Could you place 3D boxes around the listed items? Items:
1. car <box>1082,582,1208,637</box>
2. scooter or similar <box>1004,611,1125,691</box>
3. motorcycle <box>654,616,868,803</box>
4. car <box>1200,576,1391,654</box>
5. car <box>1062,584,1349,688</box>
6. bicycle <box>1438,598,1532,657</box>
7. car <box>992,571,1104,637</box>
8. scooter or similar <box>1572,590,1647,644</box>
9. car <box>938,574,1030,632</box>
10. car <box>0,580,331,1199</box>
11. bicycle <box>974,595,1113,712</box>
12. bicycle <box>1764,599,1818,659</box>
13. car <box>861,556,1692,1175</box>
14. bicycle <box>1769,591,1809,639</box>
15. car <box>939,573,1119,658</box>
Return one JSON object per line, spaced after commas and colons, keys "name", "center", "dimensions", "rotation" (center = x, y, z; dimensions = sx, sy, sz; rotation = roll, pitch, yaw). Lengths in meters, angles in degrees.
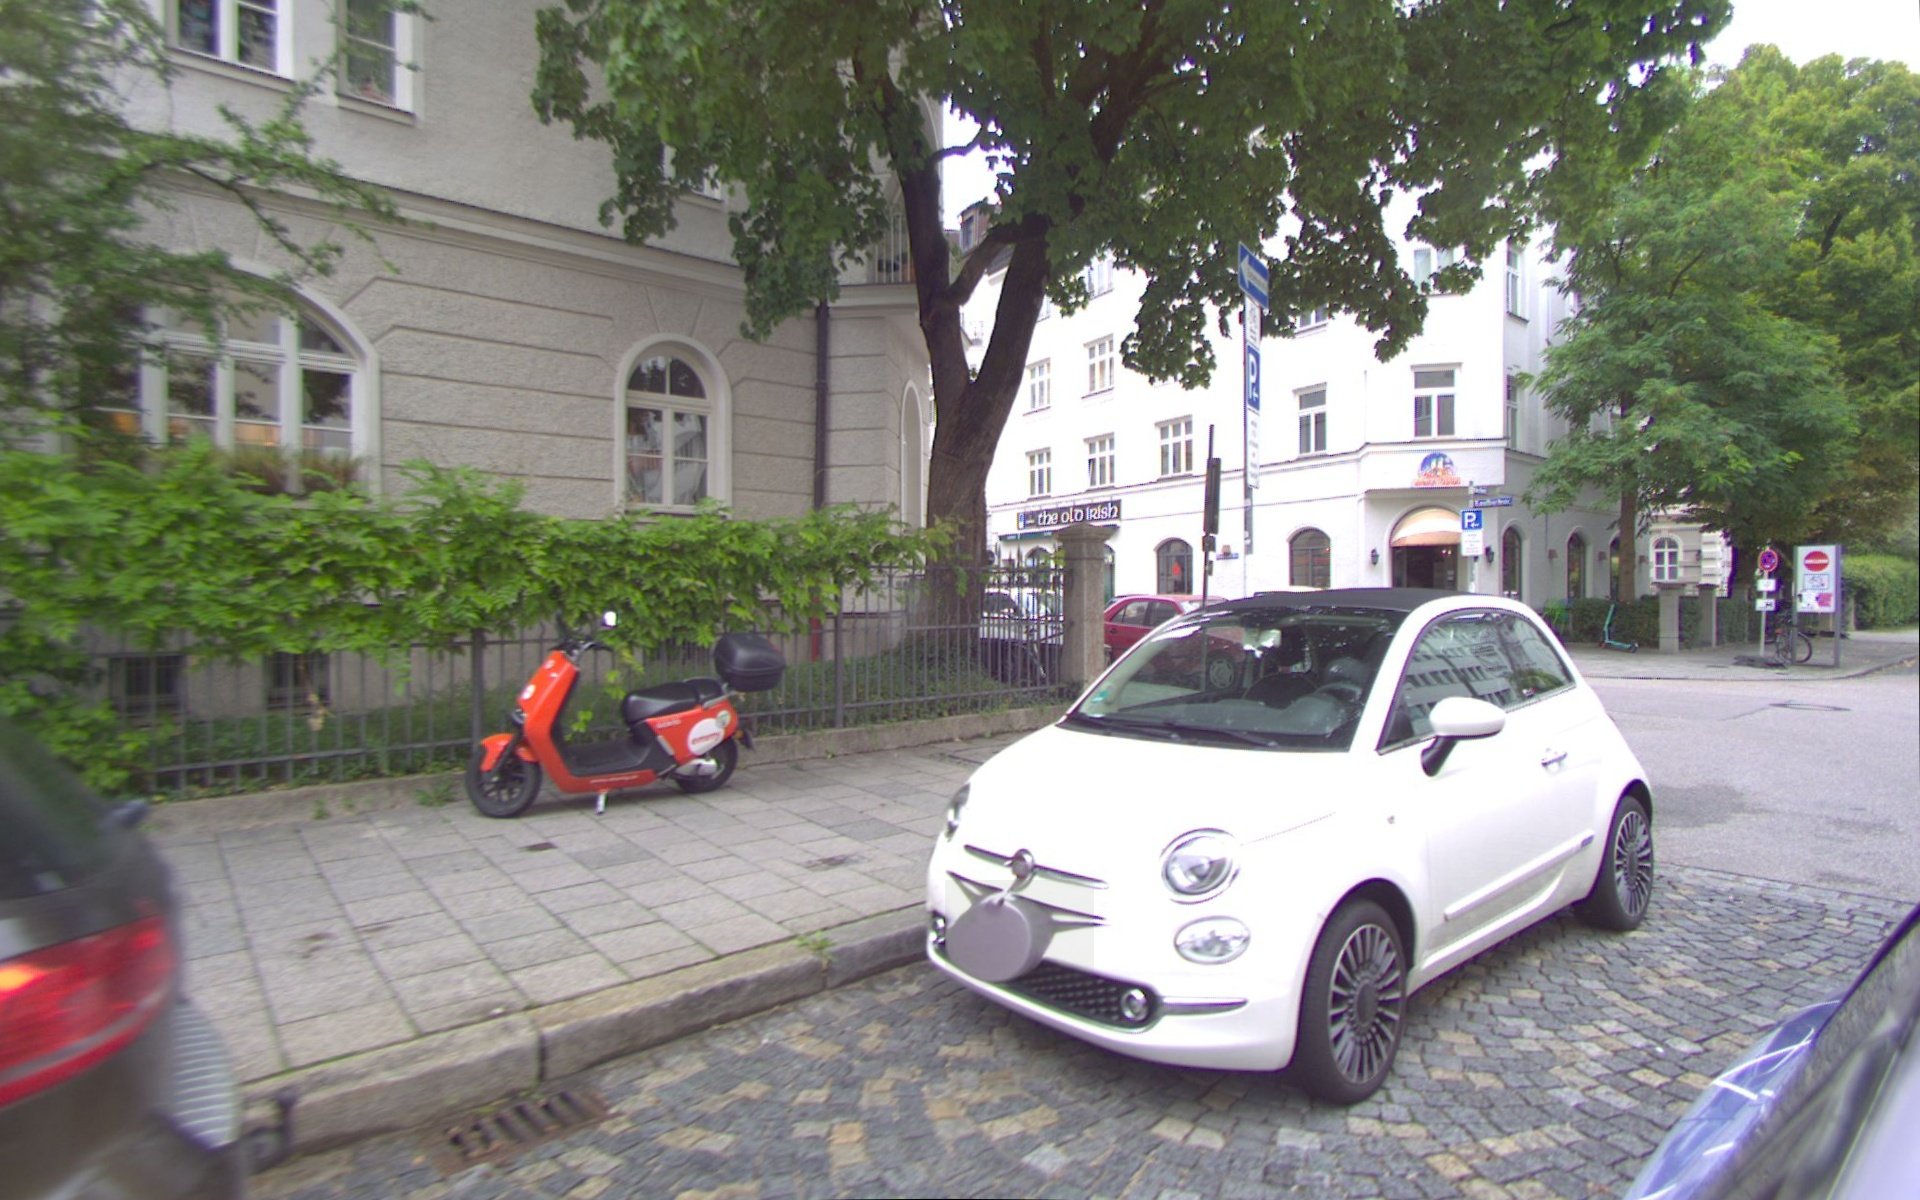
{"name": "car", "center": [5.169, 0.218, 28.684], "dimensions": [1.666, 1.443, 3.545], "rotation": [-1, 1, -28]}
{"name": "scooter or similar", "center": [1.228, 0.572, 12.059], "dimensions": [0.906, 0.859, 1.188], "rotation": [-1, 1, -30]}
{"name": "motorcycle", "center": [-1.295, 0.674, 6.733], "dimensions": [1.378, 1.104, 0.363], "rotation": [-1, 0, -38]}
{"name": "car", "center": [7.619, 0.286, 23.382], "dimensions": [1.866, 1.617, 4.094], "rotation": [-1, 1, -26]}
{"name": "car", "center": [3.680, 0.458, 16.013], "dimensions": [1.726, 1.375, 4.485], "rotation": [0, 1, -32]}
{"name": "bicycle", "center": [11.077, 0.565, 21.395], "dimensions": [0.725, 1.081, 1.606], "rotation": [-4, 5, -36]}
{"name": "car", "center": [2.782, 0.089, 32.742], "dimensions": [1.739, 1.994, 3.937], "rotation": [-1, 1, -29]}
{"name": "scooter or similar", "center": [15.291, 0.384, 23.882], "dimensions": [0.396, 1.187, 1.611], "rotation": [0, 2, -16]}
{"name": "car", "center": [0.812, 0.064, 36.251], "dimensions": [1.695, 1.959, 3.665], "rotation": [-1, 1, -28]}
{"name": "car", "center": [-3.084, 0.761, 0.471], "dimensions": [4.552, 1.440, 1.650], "rotation": [-1, -2, -42]}
{"name": "bicycle", "center": [0.865, 0.529, 10.996], "dimensions": [0.551, 1.138, 1.846], "rotation": [0, 1, -30]}
{"name": "bicycle", "center": [16.768, 0.570, 20.416], "dimensions": [1.559, 1.161, 0.389], "rotation": [-1, 1, -33]}
{"name": "car", "center": [1.556, 0.604, 4.203], "dimensions": [3.727, 1.489, 1.505], "rotation": [-1, 1, -39]}
{"name": "bicycle", "center": [22.385, 0.396, 27.324], "dimensions": [1.700, 1.212, 0.429], "rotation": [-1, 6, -40]}
{"name": "car", "center": [1.286, 0.258, 20.327], "dimensions": [1.536, 1.540, 3.899], "rotation": [0, 1, -34]}
